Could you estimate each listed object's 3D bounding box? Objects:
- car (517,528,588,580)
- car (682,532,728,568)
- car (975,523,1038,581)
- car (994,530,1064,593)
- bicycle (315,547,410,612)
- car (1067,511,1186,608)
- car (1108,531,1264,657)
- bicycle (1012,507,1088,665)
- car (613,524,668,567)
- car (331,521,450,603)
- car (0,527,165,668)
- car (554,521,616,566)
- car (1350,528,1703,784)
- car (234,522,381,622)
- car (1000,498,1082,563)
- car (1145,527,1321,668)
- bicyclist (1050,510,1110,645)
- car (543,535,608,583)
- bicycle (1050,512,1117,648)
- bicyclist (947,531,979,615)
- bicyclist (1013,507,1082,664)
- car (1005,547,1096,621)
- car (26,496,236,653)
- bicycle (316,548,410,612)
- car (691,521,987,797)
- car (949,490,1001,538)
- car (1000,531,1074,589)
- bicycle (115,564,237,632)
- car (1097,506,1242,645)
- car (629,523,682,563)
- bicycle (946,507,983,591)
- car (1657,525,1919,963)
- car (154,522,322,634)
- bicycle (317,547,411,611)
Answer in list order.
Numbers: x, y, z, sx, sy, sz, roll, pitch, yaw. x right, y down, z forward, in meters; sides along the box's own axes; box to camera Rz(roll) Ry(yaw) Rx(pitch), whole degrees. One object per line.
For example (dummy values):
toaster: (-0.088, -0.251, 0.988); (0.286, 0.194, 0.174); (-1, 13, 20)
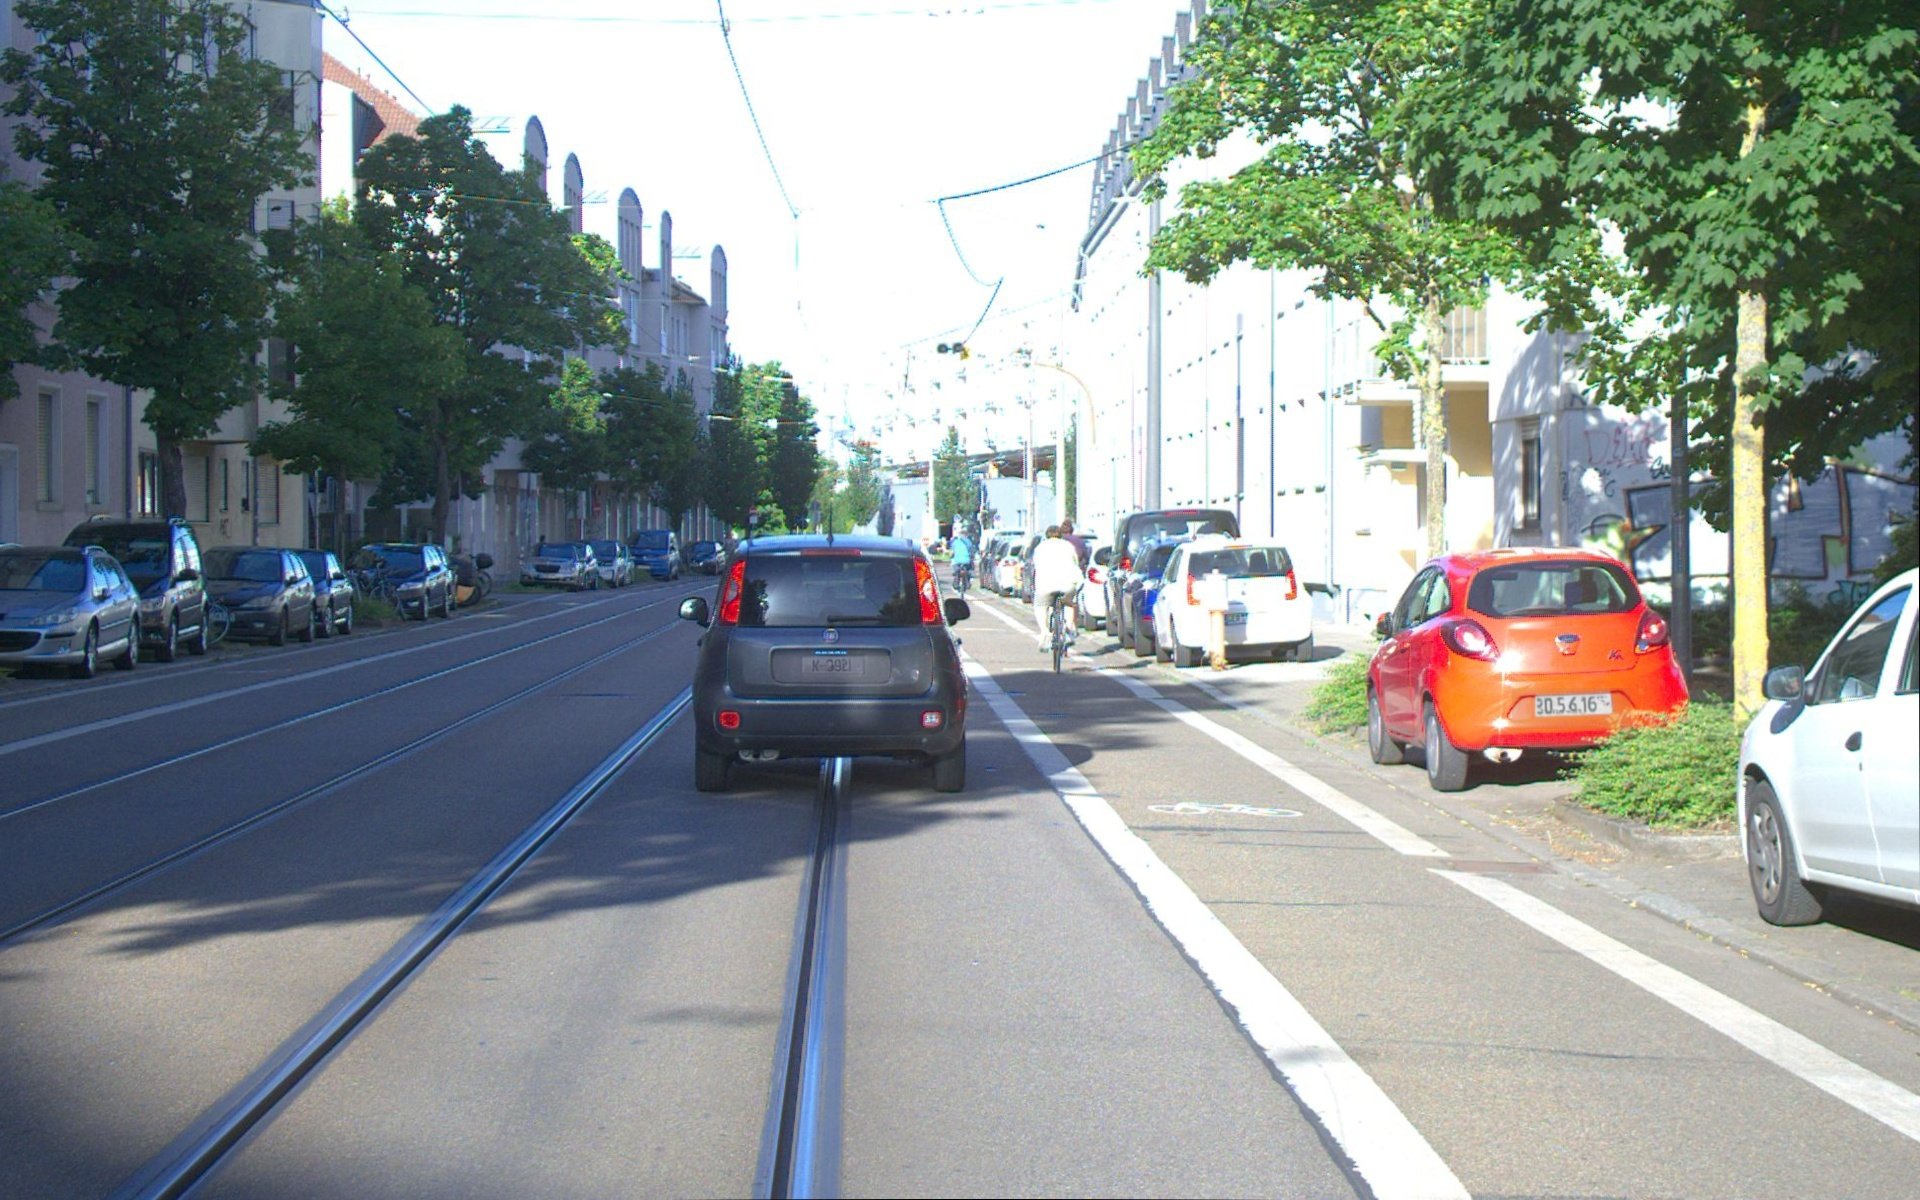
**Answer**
car: (-12.172, -1.386, 102.907); (1.707, 1.491, 3.722); (1, 1, -1)
car: (-10.908, -2.163, 147.162); (1.707, 1.491, 3.722); (1, 1, -1)
car: (1.309, -1.378, 98.209); (1.583, 1.593, 3.377); (1, 1, -2)
car: (1.794, -1.018, 90.192); (1.583, 1.593, 3.377); (1, 1, -2)
bicycle: (-11.328, -0.397, 65.242); (1.728, 1.192, 0.372); (1, 1, -5)
car: (2.694, -0.676, 56.143); (1.655, 1.495, 3.130); (1, 1, -2)
car: (2.966, -0.111, 45.766); (1.655, 1.566, 3.876); (1, 1, -2)
bicycle: (1.015, -0.176, 39.180); (0.675, 1.741, 2.158); (1, 1, -2)
car: (-11.670, -1.993, 125.772); (1.707, 1.491, 3.722); (1, 1, -1)
car: (-11.319, -0.780, 68.502); (1.834, 1.551, 4.001); (1, 1, -2)
car: (-10.548, -0.075, 39.605); (1.808, 1.503, 4.681); (1, 1, -2)
car: (-12.796, -1.939, 117.401); (1.707, 1.491, 3.722); (1, 1, -1)
car: (3.668, 0.311, 22.767); (1.635, 1.503, 3.397); (-2, 1, -2)
car: (-11.036, -0.499, 58.356); (1.808, 1.614, 4.065); (1, 1, -2)
car: (1.807, -1.566, 77.328); (1.583, 1.400, 3.377); (1, 1, -2)
car: (3.209, -0.063, 40.941); (1.655, 1.566, 3.499); (1, 1, -2)
bicyclist: (1.581, -0.303, 45.483); (0.699, 1.753, 0.758); (1, 1, -2)
car: (-12.551, -1.362, 112.360); (1.707, 1.491, 3.722); (1, 1, -1)
bicycle: (1.618, -0.282, 45.449); (0.675, 1.741, 2.158); (1, 1, -2)
bicyclist: (0.076, -0.666, 83.944); (0.715, 2.007, 0.832); (1, 1, -2)
bicyclist: (0.997, -0.171, 39.185); (0.699, 1.753, 0.758); (1, 1, -2)
car: (1.868, -0.355, 71.805); (1.583, 1.400, 3.377); (-3, 1, -2)
car: (-10.877, -0.366, 45.360); (1.808, 1.937, 4.334); (1, 1, -2)
bicycle: (-11.391, -0.382, 65.636); (1.728, 1.192, 0.372); (1, 1, -5)
car: (-0.759, 0.290, 21.650); (1.650, 1.536, 4.235); (1, 1, -2)
car: (0.502, -2.941, 118.286); (1.583, 1.593, 3.377); (1, 1, -2)
car: (1.904, -1.016, 85.863); (1.583, 1.400, 3.377); (1, 1, -2)
bicycle: (-11.200, -0.026, 49.156); (1.631, 0.934, 0.517); (1, 1, -5)
car: (3.060, -0.393, 50.926); (1.655, 1.937, 4.665); (1, 1, -2)
car: (-11.619, -2.189, 131.394); (1.707, 1.491, 3.722); (1, 1, -1)
bicycle: (0.095, -1.245, 83.832); (0.741, 2.007, 2.812); (1, 1, -2)
car: (4.083, 0.473, 12.954); (1.688, 1.525, 4.001); (-1, 1, -6)
car: (-11.016, -0.370, 52.699); (1.808, 1.614, 4.065); (1, 1, -2)
bicycle: (-11.446, -0.401, 66.049); (1.728, 1.192, 0.372); (1, 1, -5)
